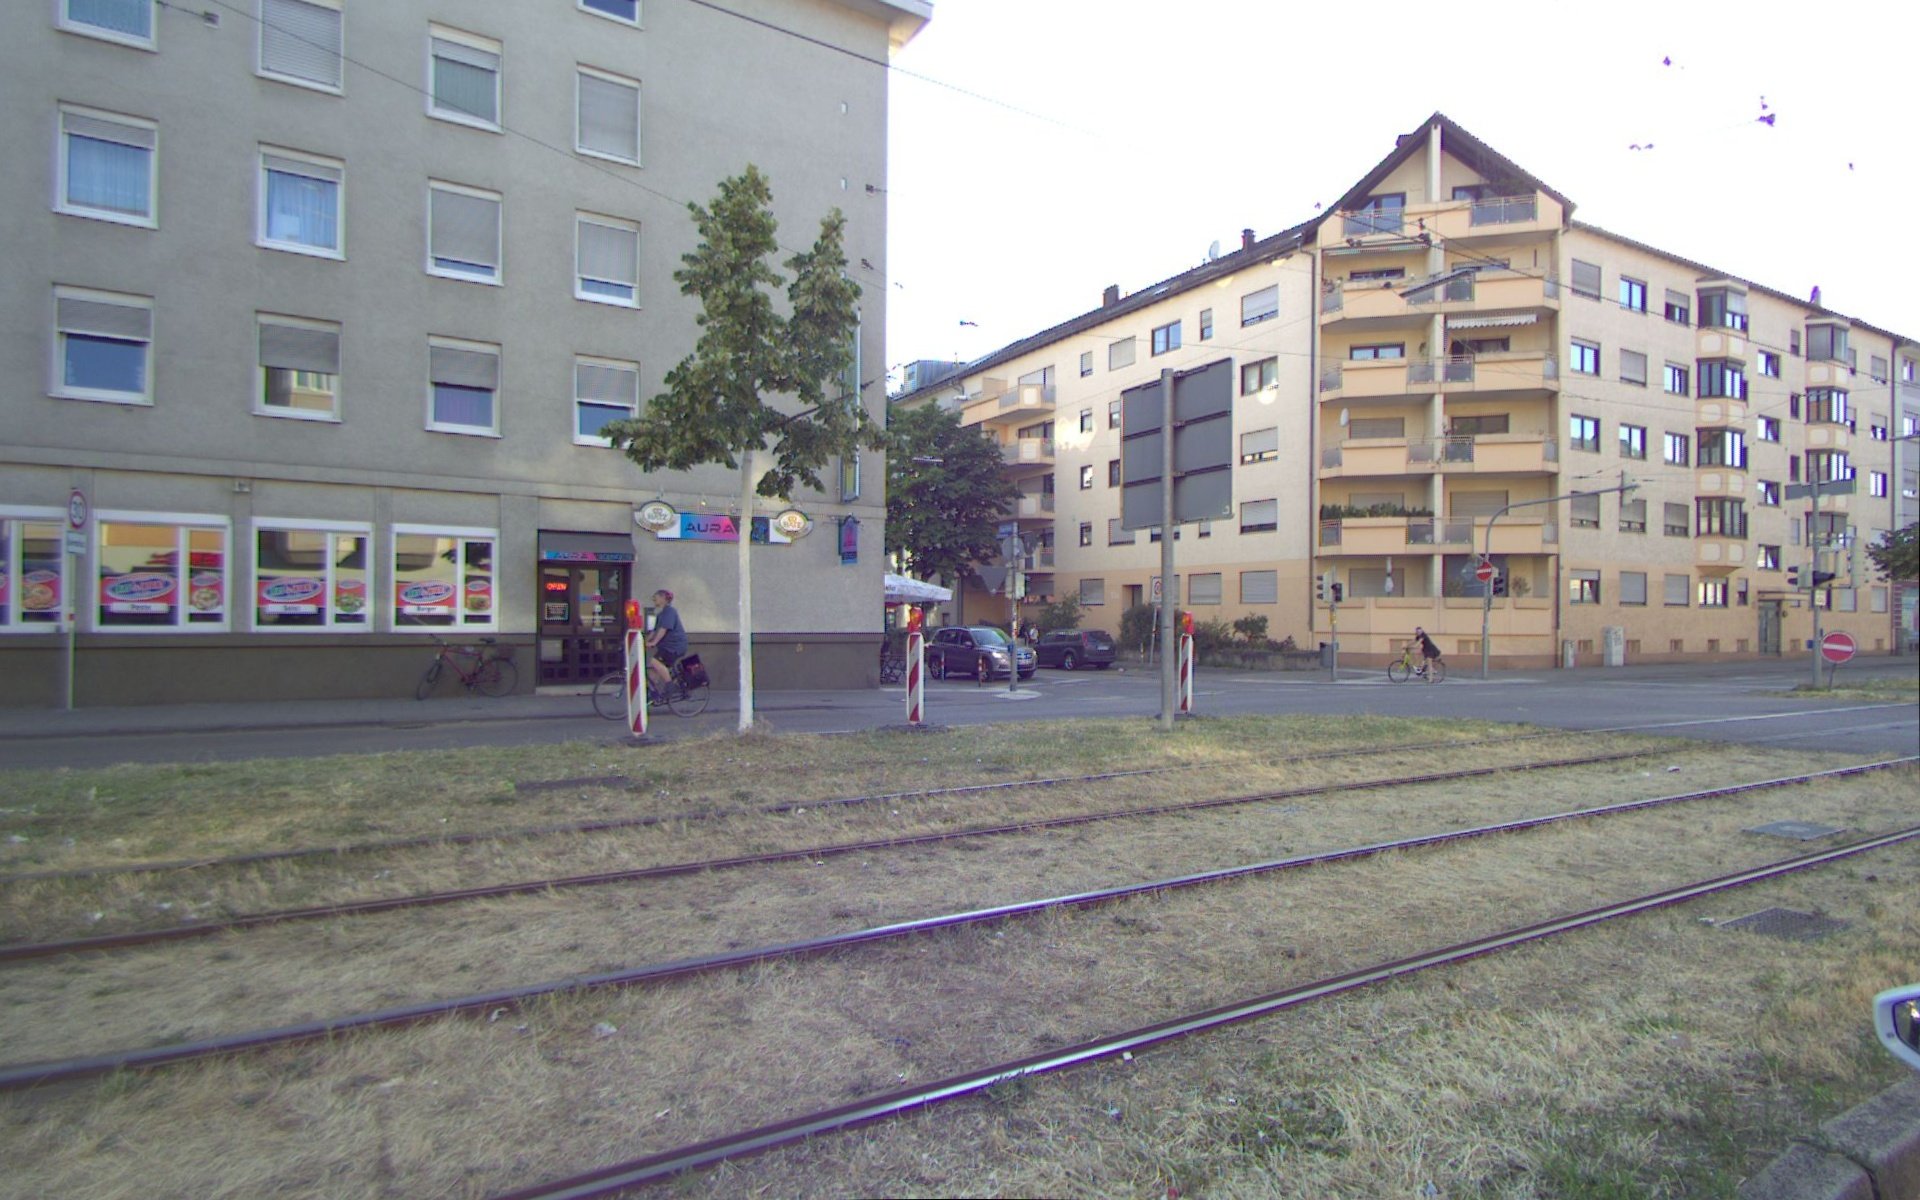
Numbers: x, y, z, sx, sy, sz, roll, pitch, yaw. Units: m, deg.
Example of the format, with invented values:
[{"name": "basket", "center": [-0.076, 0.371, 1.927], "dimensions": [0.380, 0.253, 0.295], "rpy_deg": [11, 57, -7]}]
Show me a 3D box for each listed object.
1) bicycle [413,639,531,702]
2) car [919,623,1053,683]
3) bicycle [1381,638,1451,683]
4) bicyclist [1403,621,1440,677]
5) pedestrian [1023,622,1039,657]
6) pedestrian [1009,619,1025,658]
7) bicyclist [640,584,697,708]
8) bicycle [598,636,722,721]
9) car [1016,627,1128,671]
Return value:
[{"name": "bicycle", "center": [-8.589, 1.222, 17.709], "dimensions": [1.823, 1.037, 0.605], "rpy_deg": [2, 0, -31]}, {"name": "car", "center": [0.758, 1.588, 31.451], "dimensions": [1.982, 1.645, 4.153], "rpy_deg": [-3, 1, -38]}, {"name": "bicycle", "center": [13.303, 1.753, 29.316], "dimensions": [1.833, 1.274, 0.457], "rpy_deg": [0, 0, 3]}, {"name": "bicyclist", "center": [13.461, 1.426, 29.318], "dimensions": [0.793, 1.607, 0.628], "rpy_deg": [0, 0, 4]}, {"name": "pedestrian", "center": [3.246, 1.809, 45.931], "dimensions": [0.509, 1.573, 0.547], "rpy_deg": [1, 0, -24]}, {"name": "pedestrian", "center": [2.593, 1.742, 45.605], "dimensions": [0.456, 1.727, 0.589], "rpy_deg": [2, 0, -24]}, {"name": "bicyclist", "center": [-4.612, 0.722, 15.858], "dimensions": [0.797, 1.907, 0.650], "rpy_deg": [1, -2, -22]}, {"name": "bicycle", "center": [-4.715, 1.210, 15.808], "dimensions": [1.843, 1.274, 0.454], "rpy_deg": [0, 0, -22]}, {"name": "car", "center": [4.147, 1.792, 37.613], "dimensions": [1.982, 1.462, 3.957], "rpy_deg": [-1, 0, -38]}]
